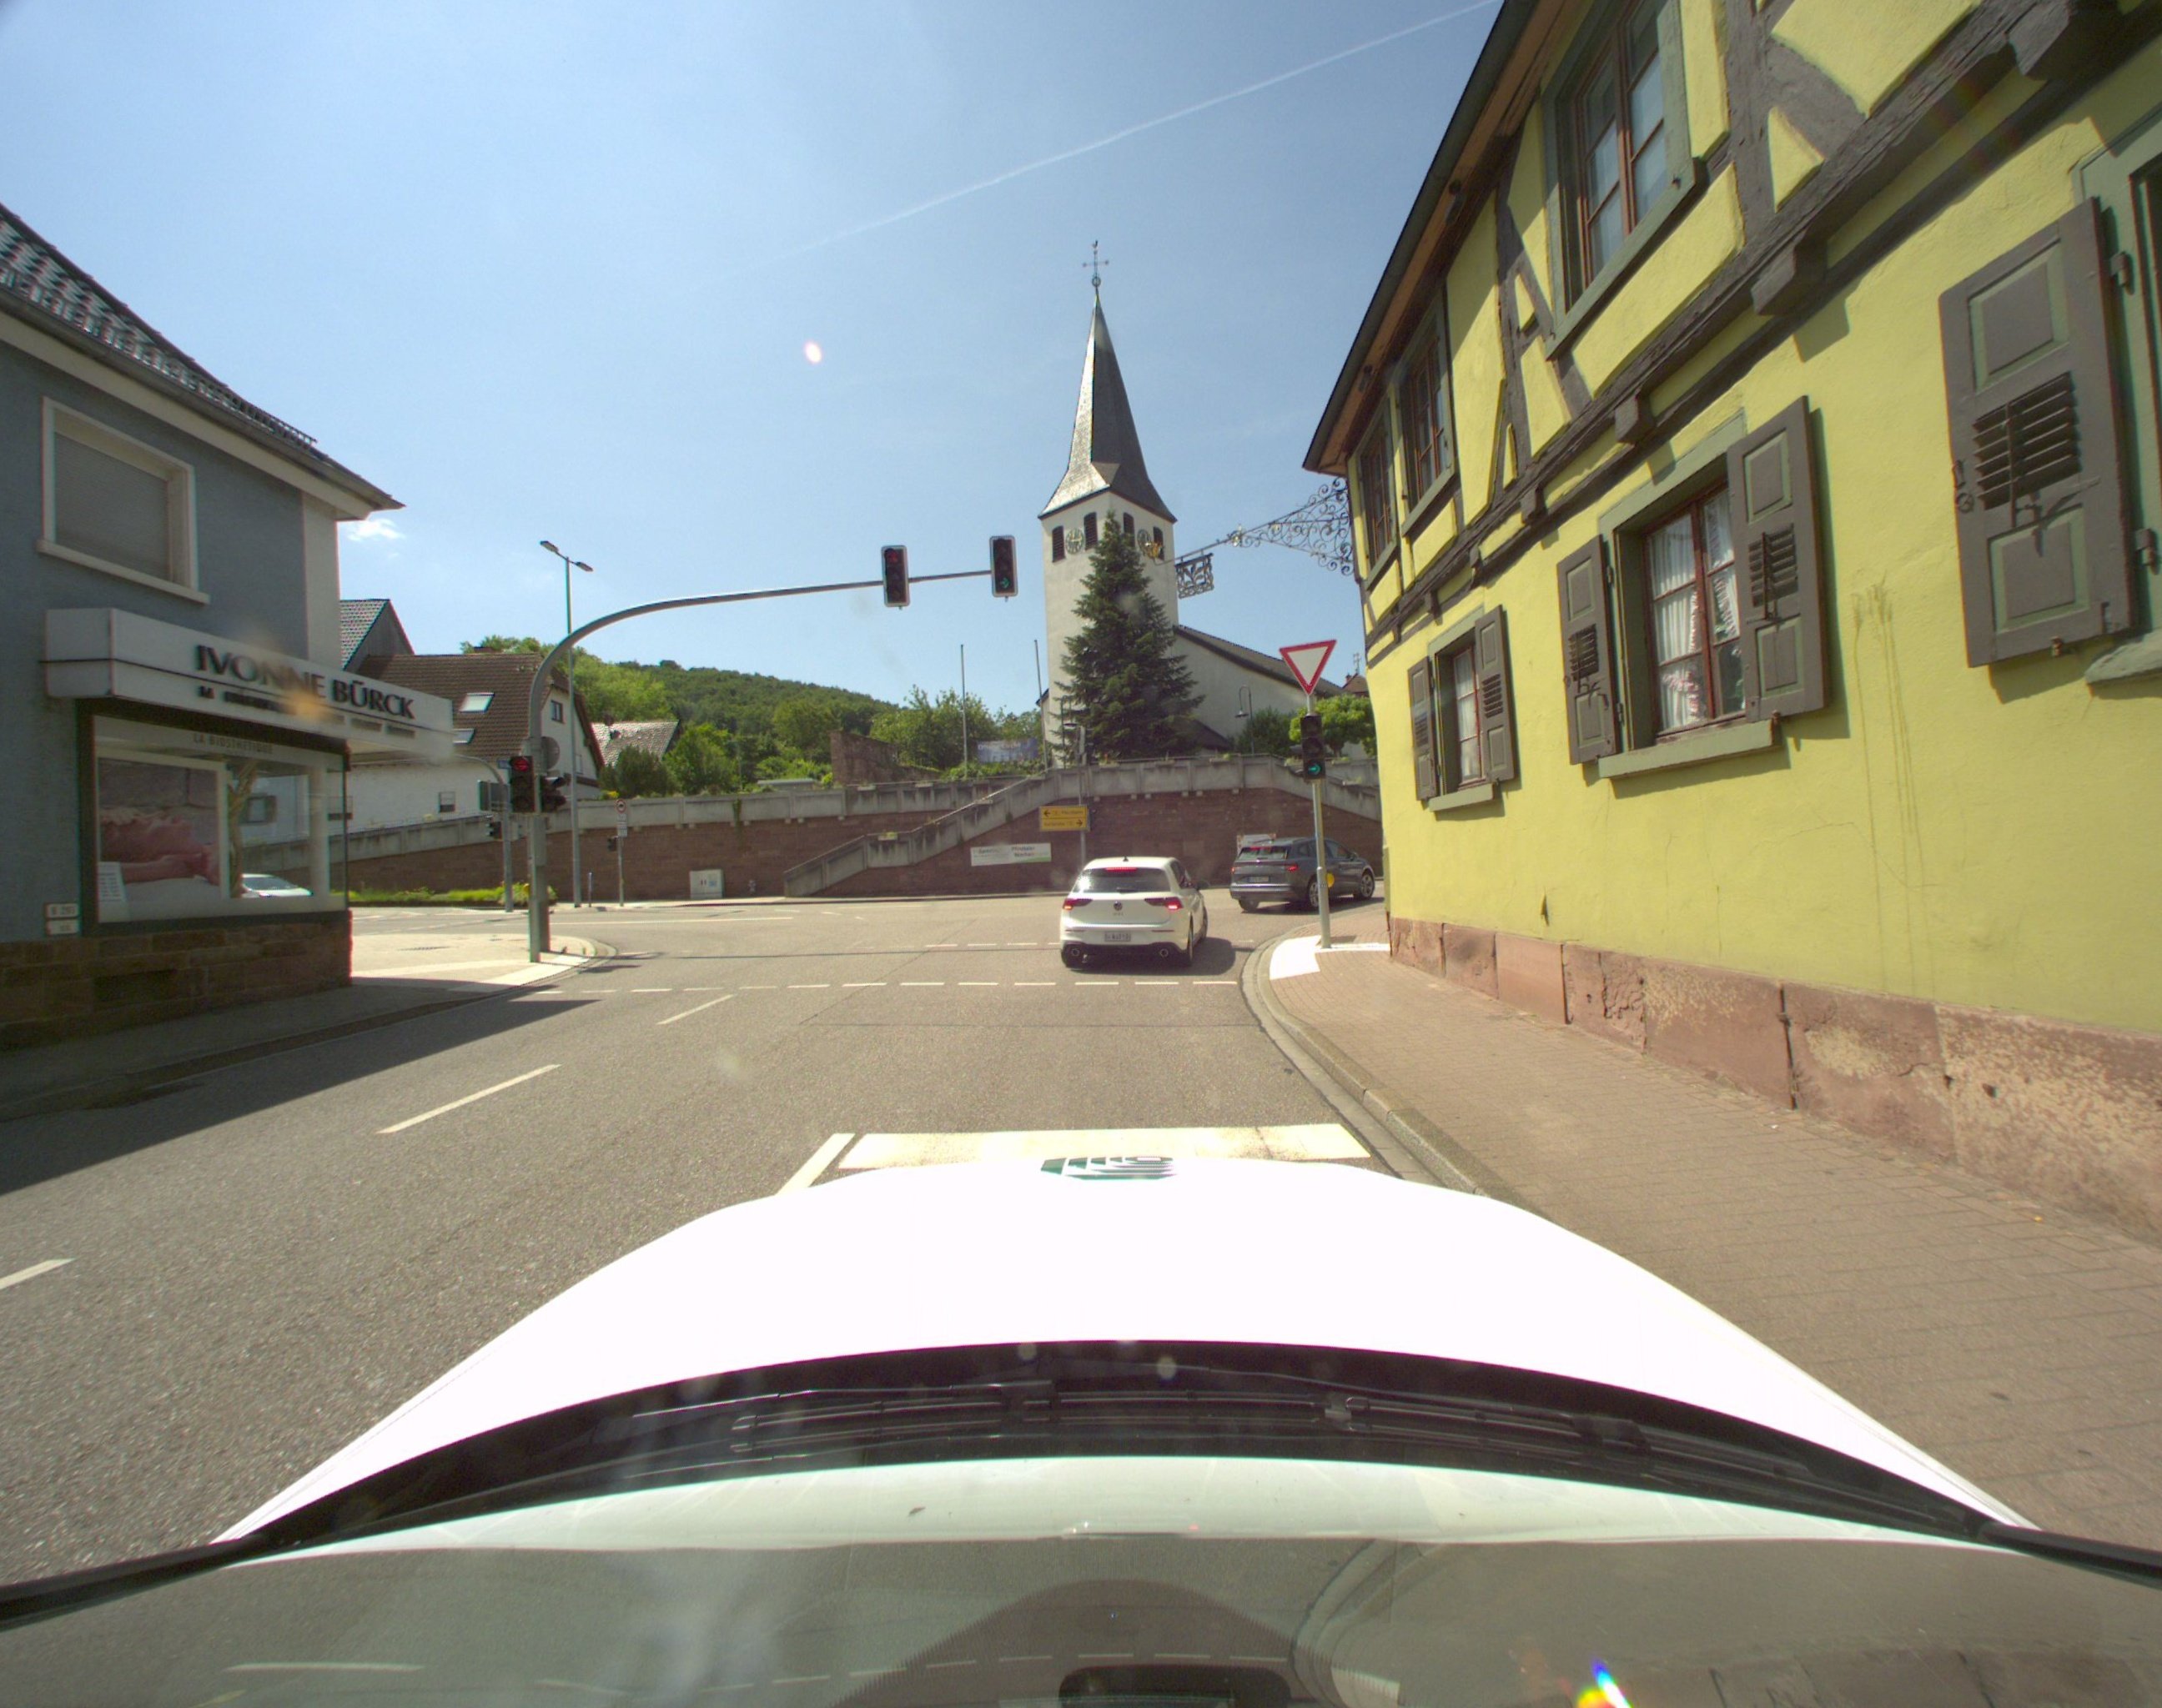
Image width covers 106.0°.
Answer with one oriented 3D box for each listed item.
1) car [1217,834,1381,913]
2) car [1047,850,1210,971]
[{"bbox_3d":[5.235,0.393,19.187,1.931,1.582,4.353,-2,1,42],"label":"car"},{"bbox_3d":[0.883,0.719,12.106,1.771,1.458,3.876,-3,-1,12],"label":"car"}]
